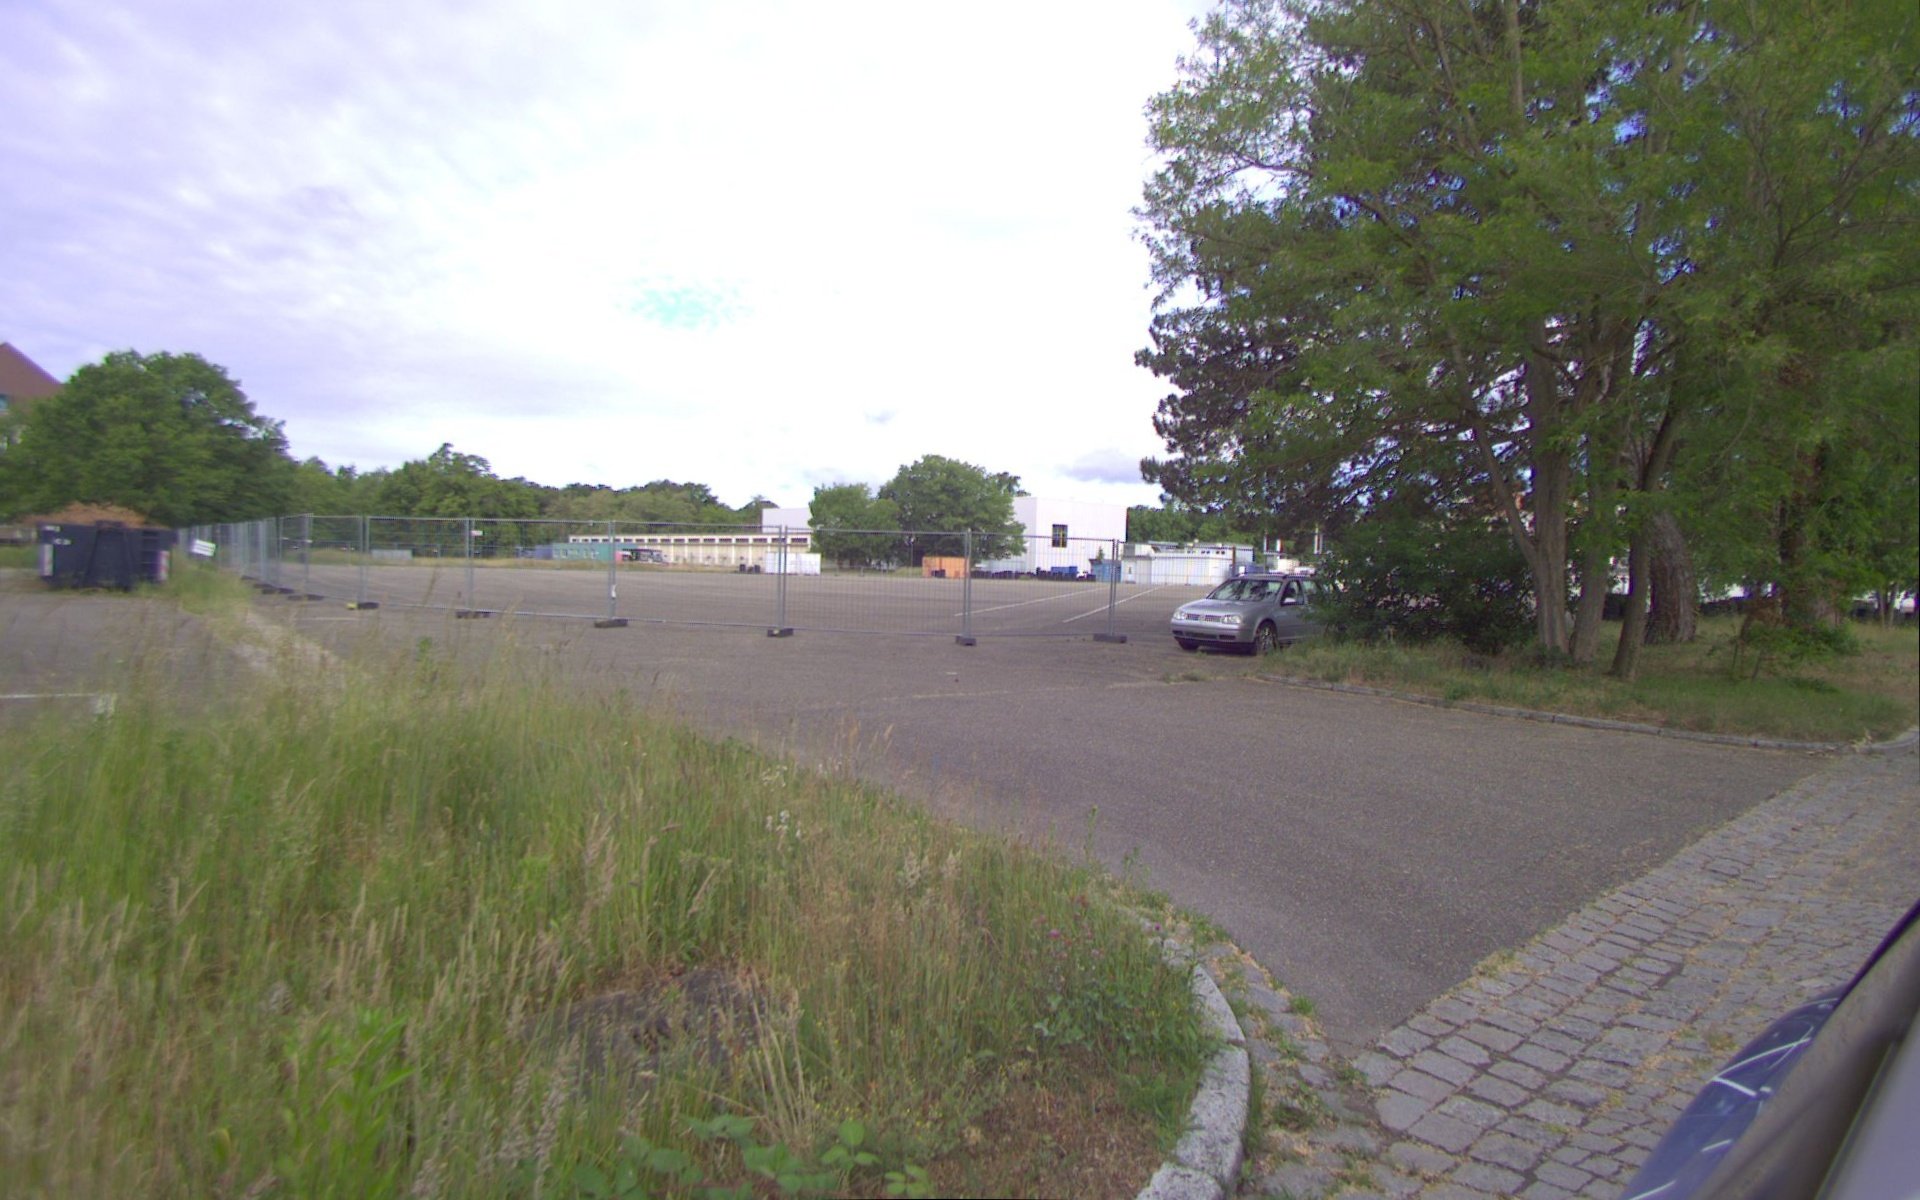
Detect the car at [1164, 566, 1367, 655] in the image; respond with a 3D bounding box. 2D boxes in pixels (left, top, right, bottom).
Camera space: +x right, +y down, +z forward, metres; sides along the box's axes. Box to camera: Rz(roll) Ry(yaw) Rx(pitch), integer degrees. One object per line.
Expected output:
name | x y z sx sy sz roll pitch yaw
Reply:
car | 5.838 0.133 19.029 4.414 1.468 1.676 -1 2 -43
